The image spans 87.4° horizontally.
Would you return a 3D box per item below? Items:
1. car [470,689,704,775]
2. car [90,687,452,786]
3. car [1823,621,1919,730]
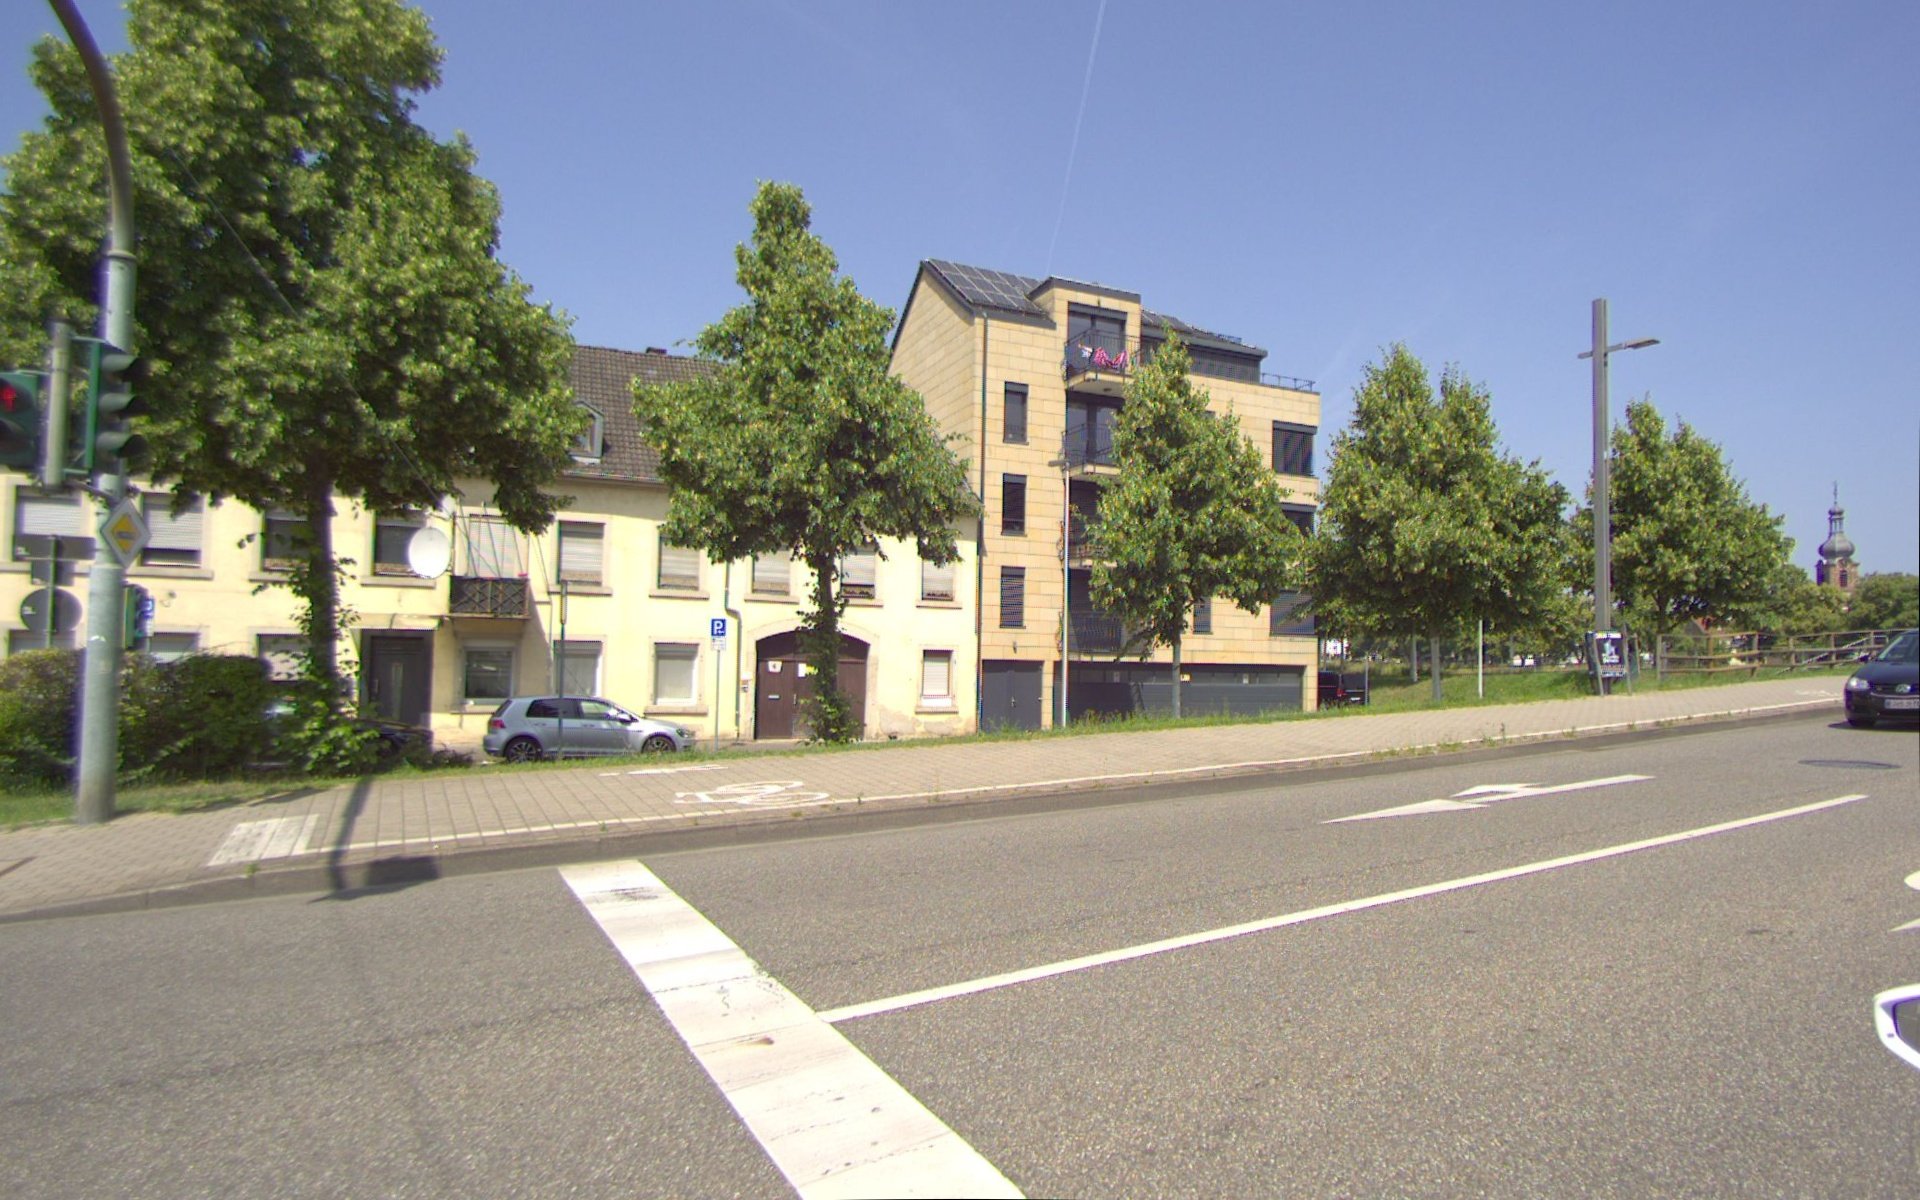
[{"bbox_3d":[-7.696,2.674,20.899,4.367,1.451,1.771,1,-1,-24],"label":"car"},{"bbox_3d":[-12.503,2.470,18.734,5.212,1.649,1.811,3,-5,-24],"label":"car"},{"bbox_3d":[14.832,1.052,14.984,3.984,1.504,1.706,0,-4,-30],"label":"car"}]
